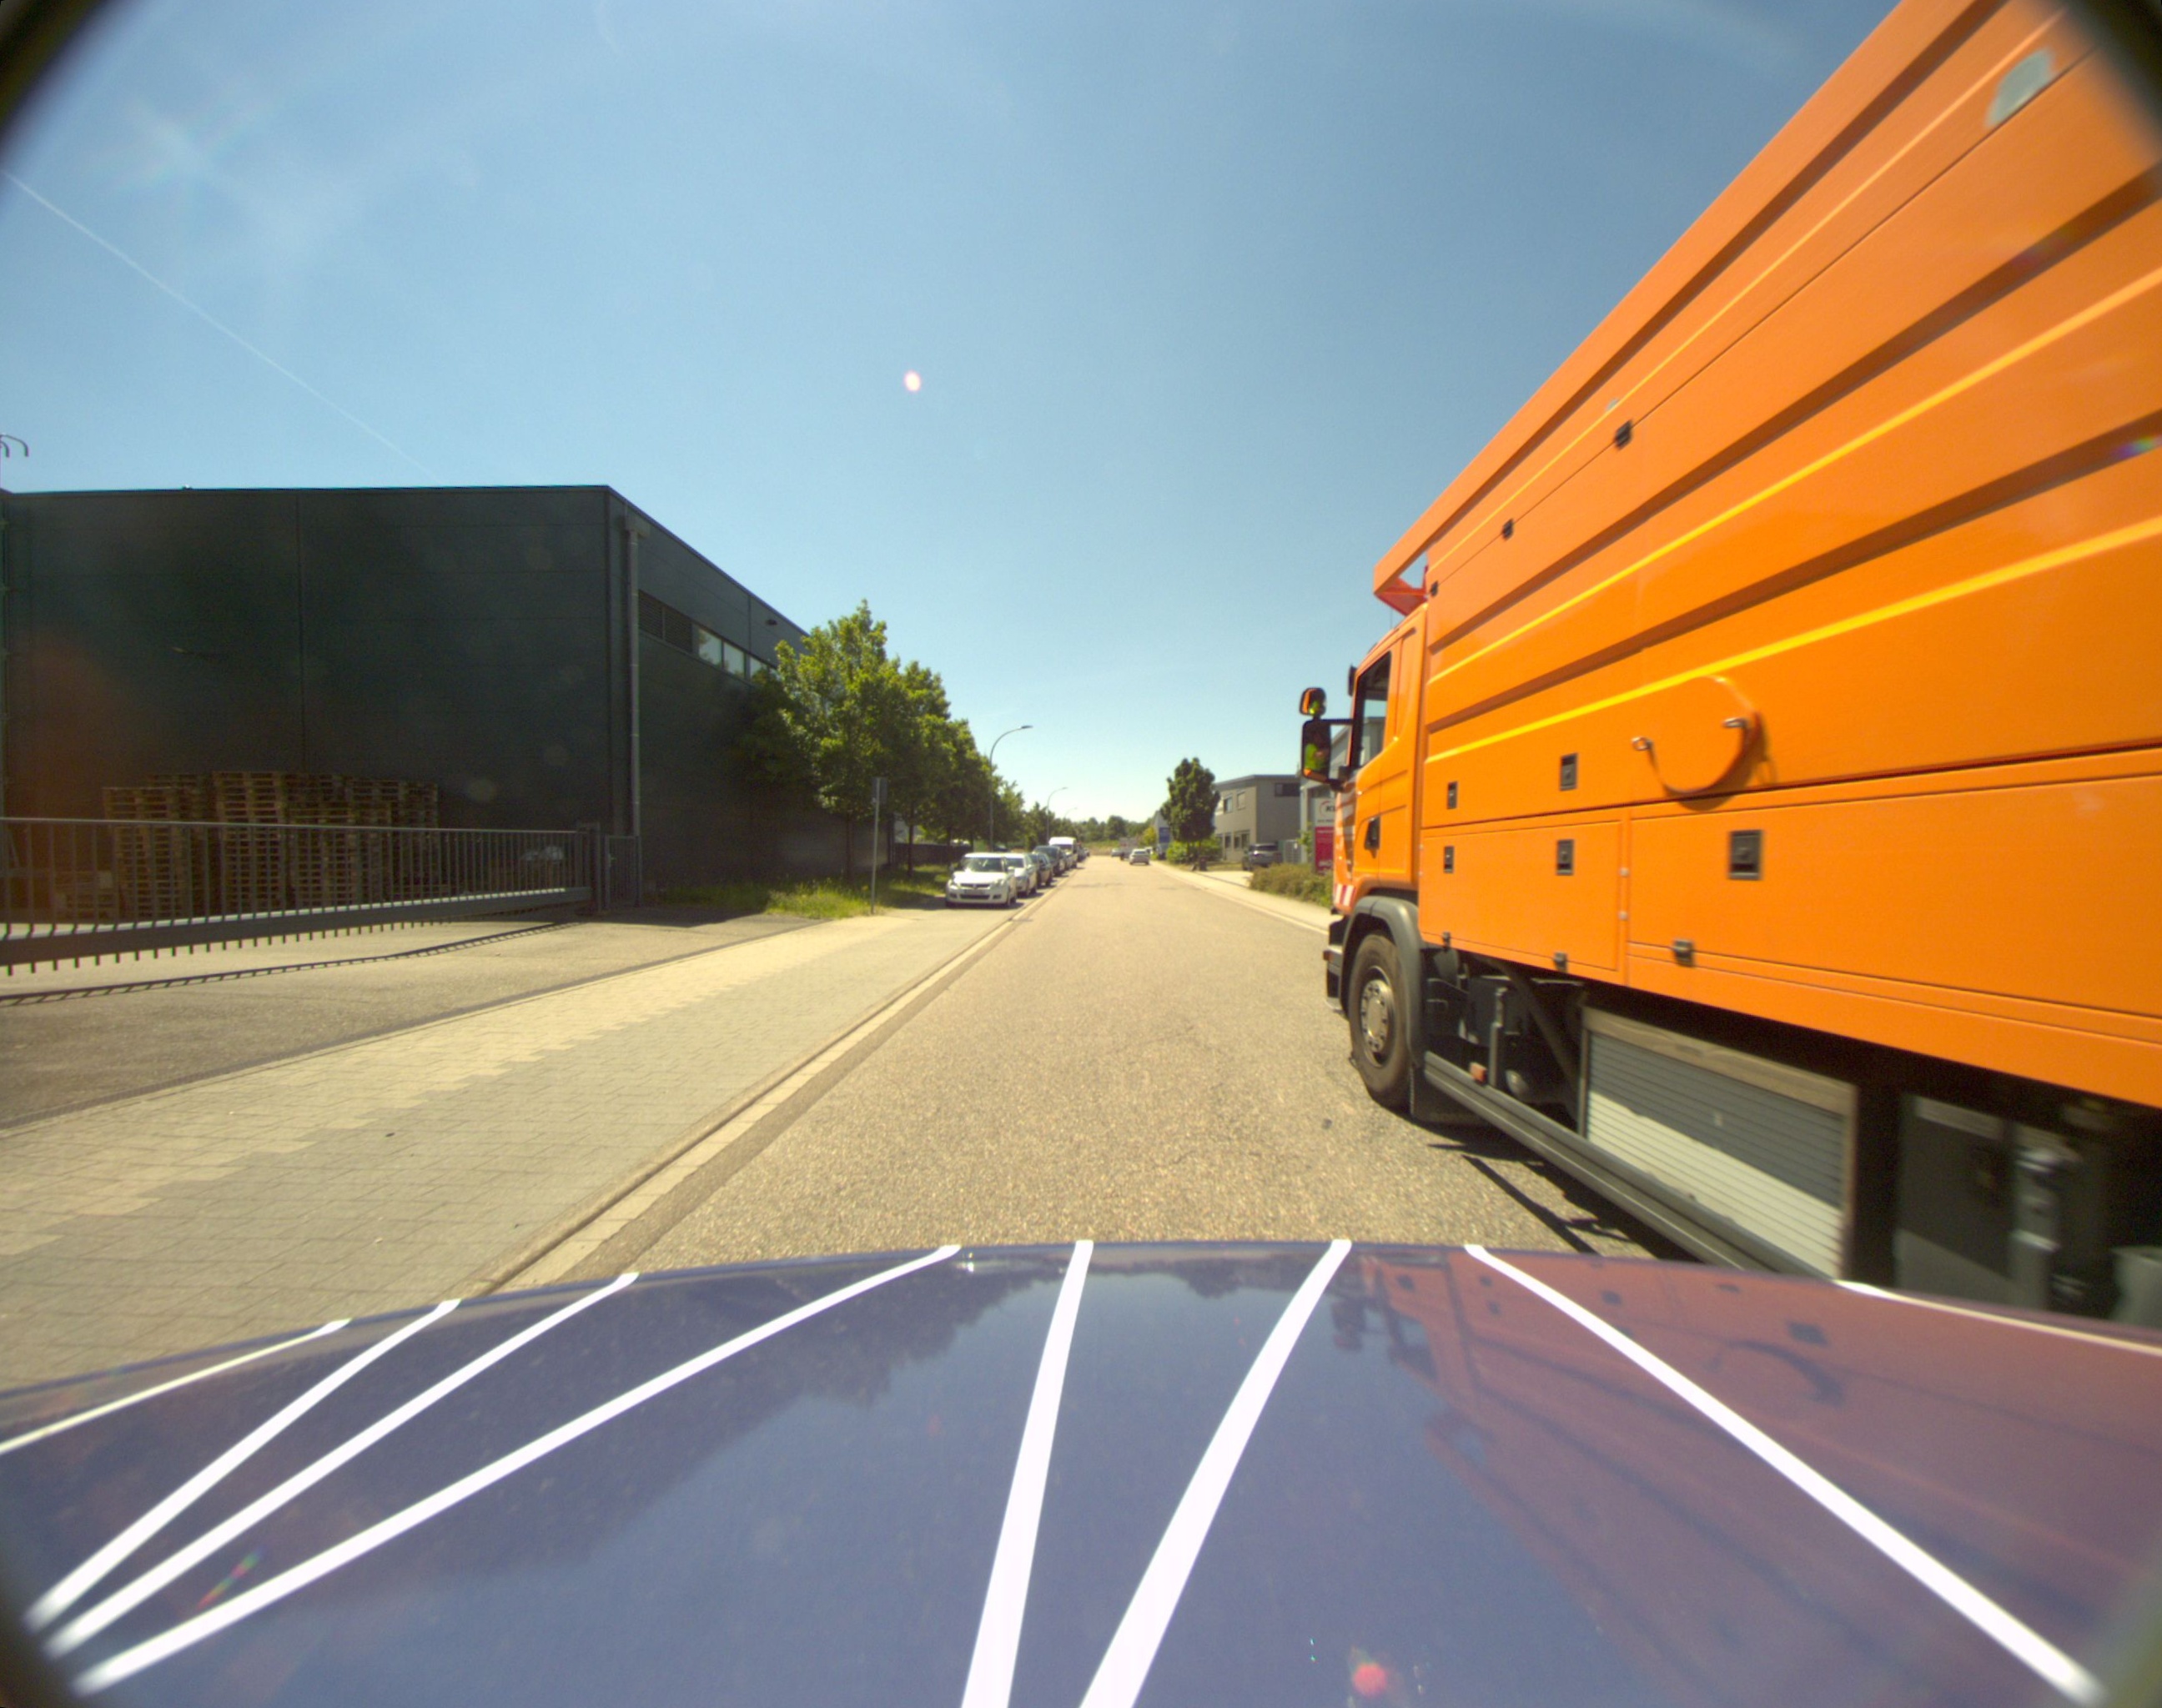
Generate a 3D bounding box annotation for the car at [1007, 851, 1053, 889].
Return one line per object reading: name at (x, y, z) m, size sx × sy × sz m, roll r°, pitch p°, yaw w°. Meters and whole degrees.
car at (-2.157, 0.656, 33.009) m, size 1.736 × 1.501 × 3.745 m, roll 0°, pitch 1°, yaw 1°

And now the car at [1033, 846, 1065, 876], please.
car at (-1.880, 0.372, 45.344) m, size 1.736 × 1.684 × 3.745 m, roll 0°, pitch 1°, yaw 1°

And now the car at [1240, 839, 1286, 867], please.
car at (11.301, -0.097, 47.502) m, size 1.998 × 1.674 × 4.000 m, roll 0°, pitch 1°, yaw 1°

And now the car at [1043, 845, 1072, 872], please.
car at (-1.554, 0.273, 51.098) m, size 1.736 × 1.684 × 3.745 m, roll 0°, pitch 1°, yaw 1°

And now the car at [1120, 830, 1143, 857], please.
car at (6.158, -1.318, 93.551) m, size 2.600 × 3.213 × 6.222 m, roll 0°, pitch 1°, yaw 2°

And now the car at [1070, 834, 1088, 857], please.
car at (-0.234, -1.038, 93.437) m, size 2.059 × 2.683 × 4.834 m, roll 0°, pitch 1°, yaw 1°

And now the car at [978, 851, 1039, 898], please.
car at (-2.462, 0.649, 26.603) m, size 1.736 × 1.501 × 3.844 m, roll 0°, pitch 1°, yaw 1°

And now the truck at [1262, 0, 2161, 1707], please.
truck at (2.776, -0.066, 1.069) m, size 2.606 × 3.524 × 10.500 m, roll 1°, pitch 1°, yaw 1°

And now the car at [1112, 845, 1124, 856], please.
car at (6.079, -0.580, 124.000) m, size 1.867 × 1.674 × 4.223 m, roll 0°, pitch 1°, yaw 2°

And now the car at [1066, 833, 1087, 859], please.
car at (-0.442, -0.843, 80.940) m, size 2.059 × 2.683 × 4.834 m, roll 0°, pitch 1°, yaw 1°

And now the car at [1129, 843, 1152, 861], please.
car at (5.620, -0.173, 71.992) m, size 1.998 × 1.674 × 4.000 m, roll 0°, pitch 1°, yaw 2°

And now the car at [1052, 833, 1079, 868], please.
car at (-1.215, -0.322, 61.329) m, size 2.059 × 2.683 × 4.834 m, roll 0°, pitch 1°, yaw 1°

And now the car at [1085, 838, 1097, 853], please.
car at (1.831, -1.534, 138.476) m, size 2.059 × 2.683 × 4.834 m, roll 0°, pitch 1°, yaw 1°

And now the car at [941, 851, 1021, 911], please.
car at (-2.742, 0.707, 21.614) m, size 1.736 × 1.501 × 3.665 m, roll 1°, pitch 1°, yaw 1°
